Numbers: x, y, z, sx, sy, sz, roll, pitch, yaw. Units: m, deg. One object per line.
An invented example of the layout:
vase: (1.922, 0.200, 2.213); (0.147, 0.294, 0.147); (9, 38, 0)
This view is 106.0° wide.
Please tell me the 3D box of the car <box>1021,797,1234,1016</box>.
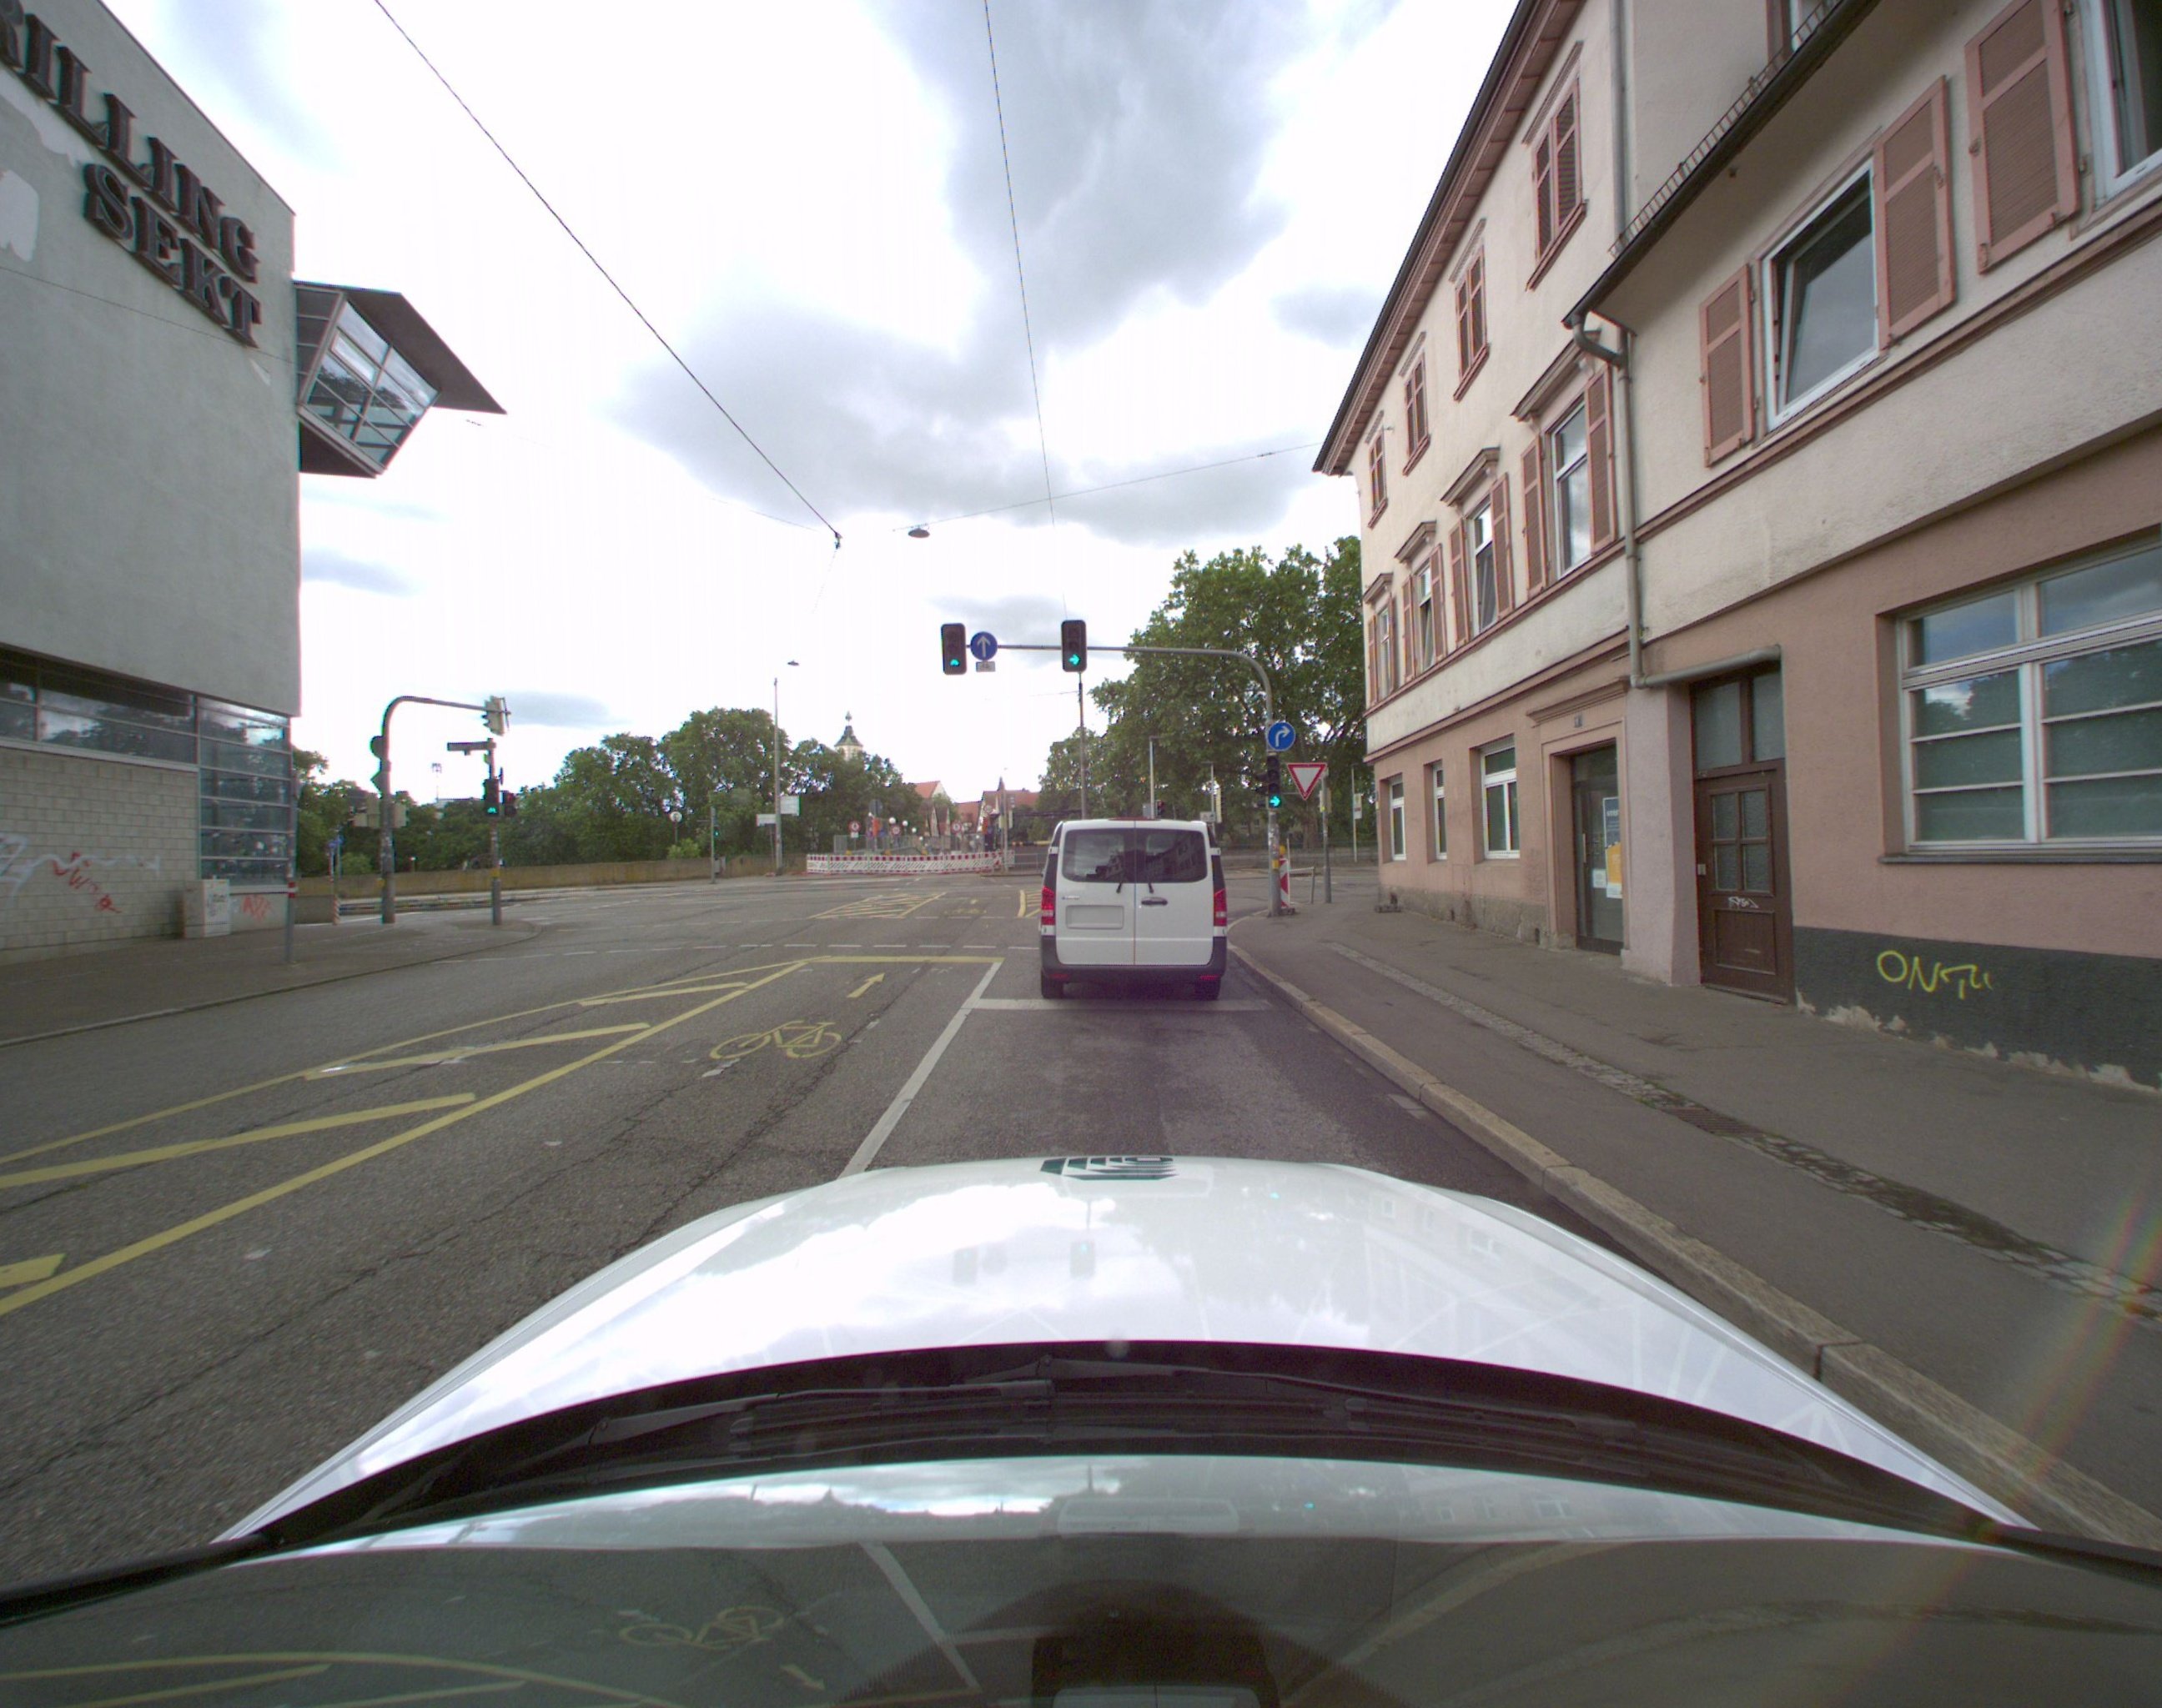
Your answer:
car: (0.519, 0.451, 9.853); (1.943, 2.013, 4.701); (0, 1, 2)
